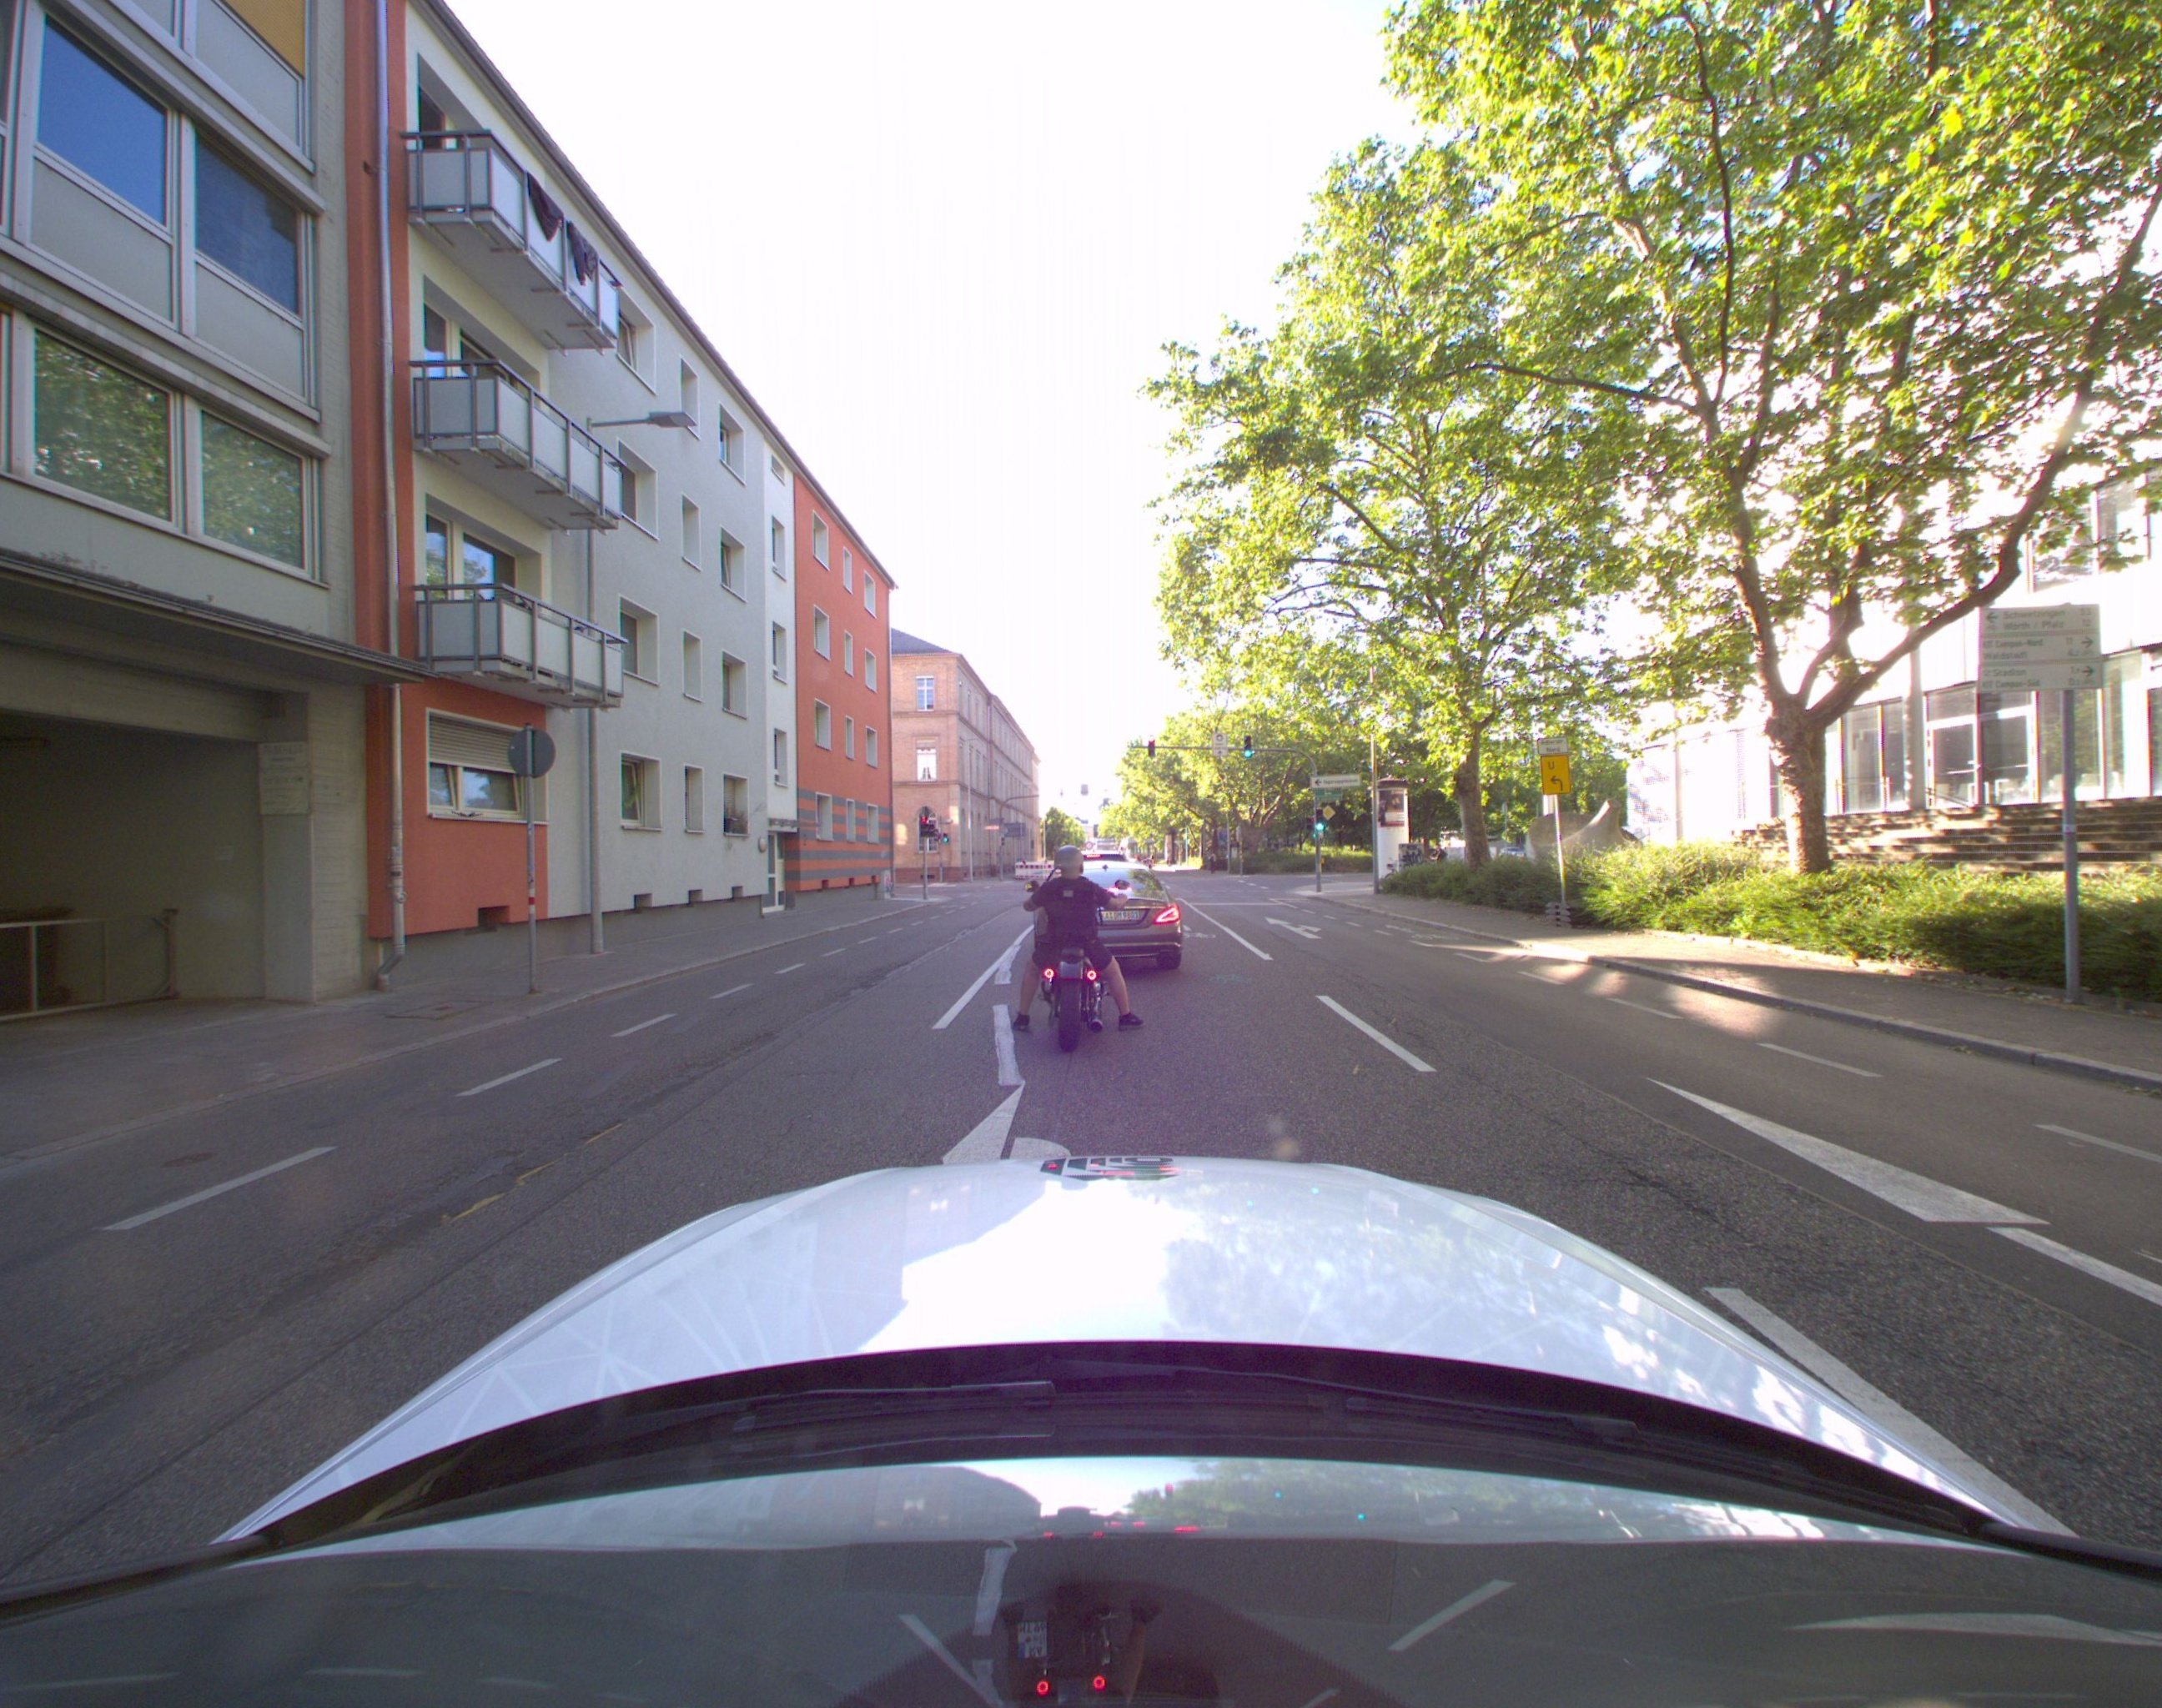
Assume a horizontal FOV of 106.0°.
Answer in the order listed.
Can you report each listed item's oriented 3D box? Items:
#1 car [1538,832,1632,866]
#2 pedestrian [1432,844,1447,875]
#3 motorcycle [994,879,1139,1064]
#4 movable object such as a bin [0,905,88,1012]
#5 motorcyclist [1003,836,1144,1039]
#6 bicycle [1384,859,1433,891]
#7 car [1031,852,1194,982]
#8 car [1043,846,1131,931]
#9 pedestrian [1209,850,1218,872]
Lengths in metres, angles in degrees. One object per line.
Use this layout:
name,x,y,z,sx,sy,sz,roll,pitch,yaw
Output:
car,28.164,-0.251,45.617,3.975,1.784,2.004,-1,0,7
pedestrian,21.078,0.303,47.896,0.617,1.784,0.631,-1,0,4
motorcycle,-0.059,0.876,7.091,1.003,1.204,2.666,-1,0,2
movable object such as a bin,-11.282,1.092,8.647,0.584,1.040,0.712,-1,0,2
motorcyclist,-0.043,0.673,7.168,1.109,1.613,1.202,-1,0,1
bicycle,10.978,0.709,27.329,1.411,1.037,0.538,-1,0,-2
car,0.242,0.747,11.753,1.818,1.476,4.346,-1,0,-5
car,0.141,0.674,17.756,1.676,1.625,3.841,-1,0,1
pedestrian,10.314,0.530,63.262,0.557,1.678,0.565,-1,0,1
